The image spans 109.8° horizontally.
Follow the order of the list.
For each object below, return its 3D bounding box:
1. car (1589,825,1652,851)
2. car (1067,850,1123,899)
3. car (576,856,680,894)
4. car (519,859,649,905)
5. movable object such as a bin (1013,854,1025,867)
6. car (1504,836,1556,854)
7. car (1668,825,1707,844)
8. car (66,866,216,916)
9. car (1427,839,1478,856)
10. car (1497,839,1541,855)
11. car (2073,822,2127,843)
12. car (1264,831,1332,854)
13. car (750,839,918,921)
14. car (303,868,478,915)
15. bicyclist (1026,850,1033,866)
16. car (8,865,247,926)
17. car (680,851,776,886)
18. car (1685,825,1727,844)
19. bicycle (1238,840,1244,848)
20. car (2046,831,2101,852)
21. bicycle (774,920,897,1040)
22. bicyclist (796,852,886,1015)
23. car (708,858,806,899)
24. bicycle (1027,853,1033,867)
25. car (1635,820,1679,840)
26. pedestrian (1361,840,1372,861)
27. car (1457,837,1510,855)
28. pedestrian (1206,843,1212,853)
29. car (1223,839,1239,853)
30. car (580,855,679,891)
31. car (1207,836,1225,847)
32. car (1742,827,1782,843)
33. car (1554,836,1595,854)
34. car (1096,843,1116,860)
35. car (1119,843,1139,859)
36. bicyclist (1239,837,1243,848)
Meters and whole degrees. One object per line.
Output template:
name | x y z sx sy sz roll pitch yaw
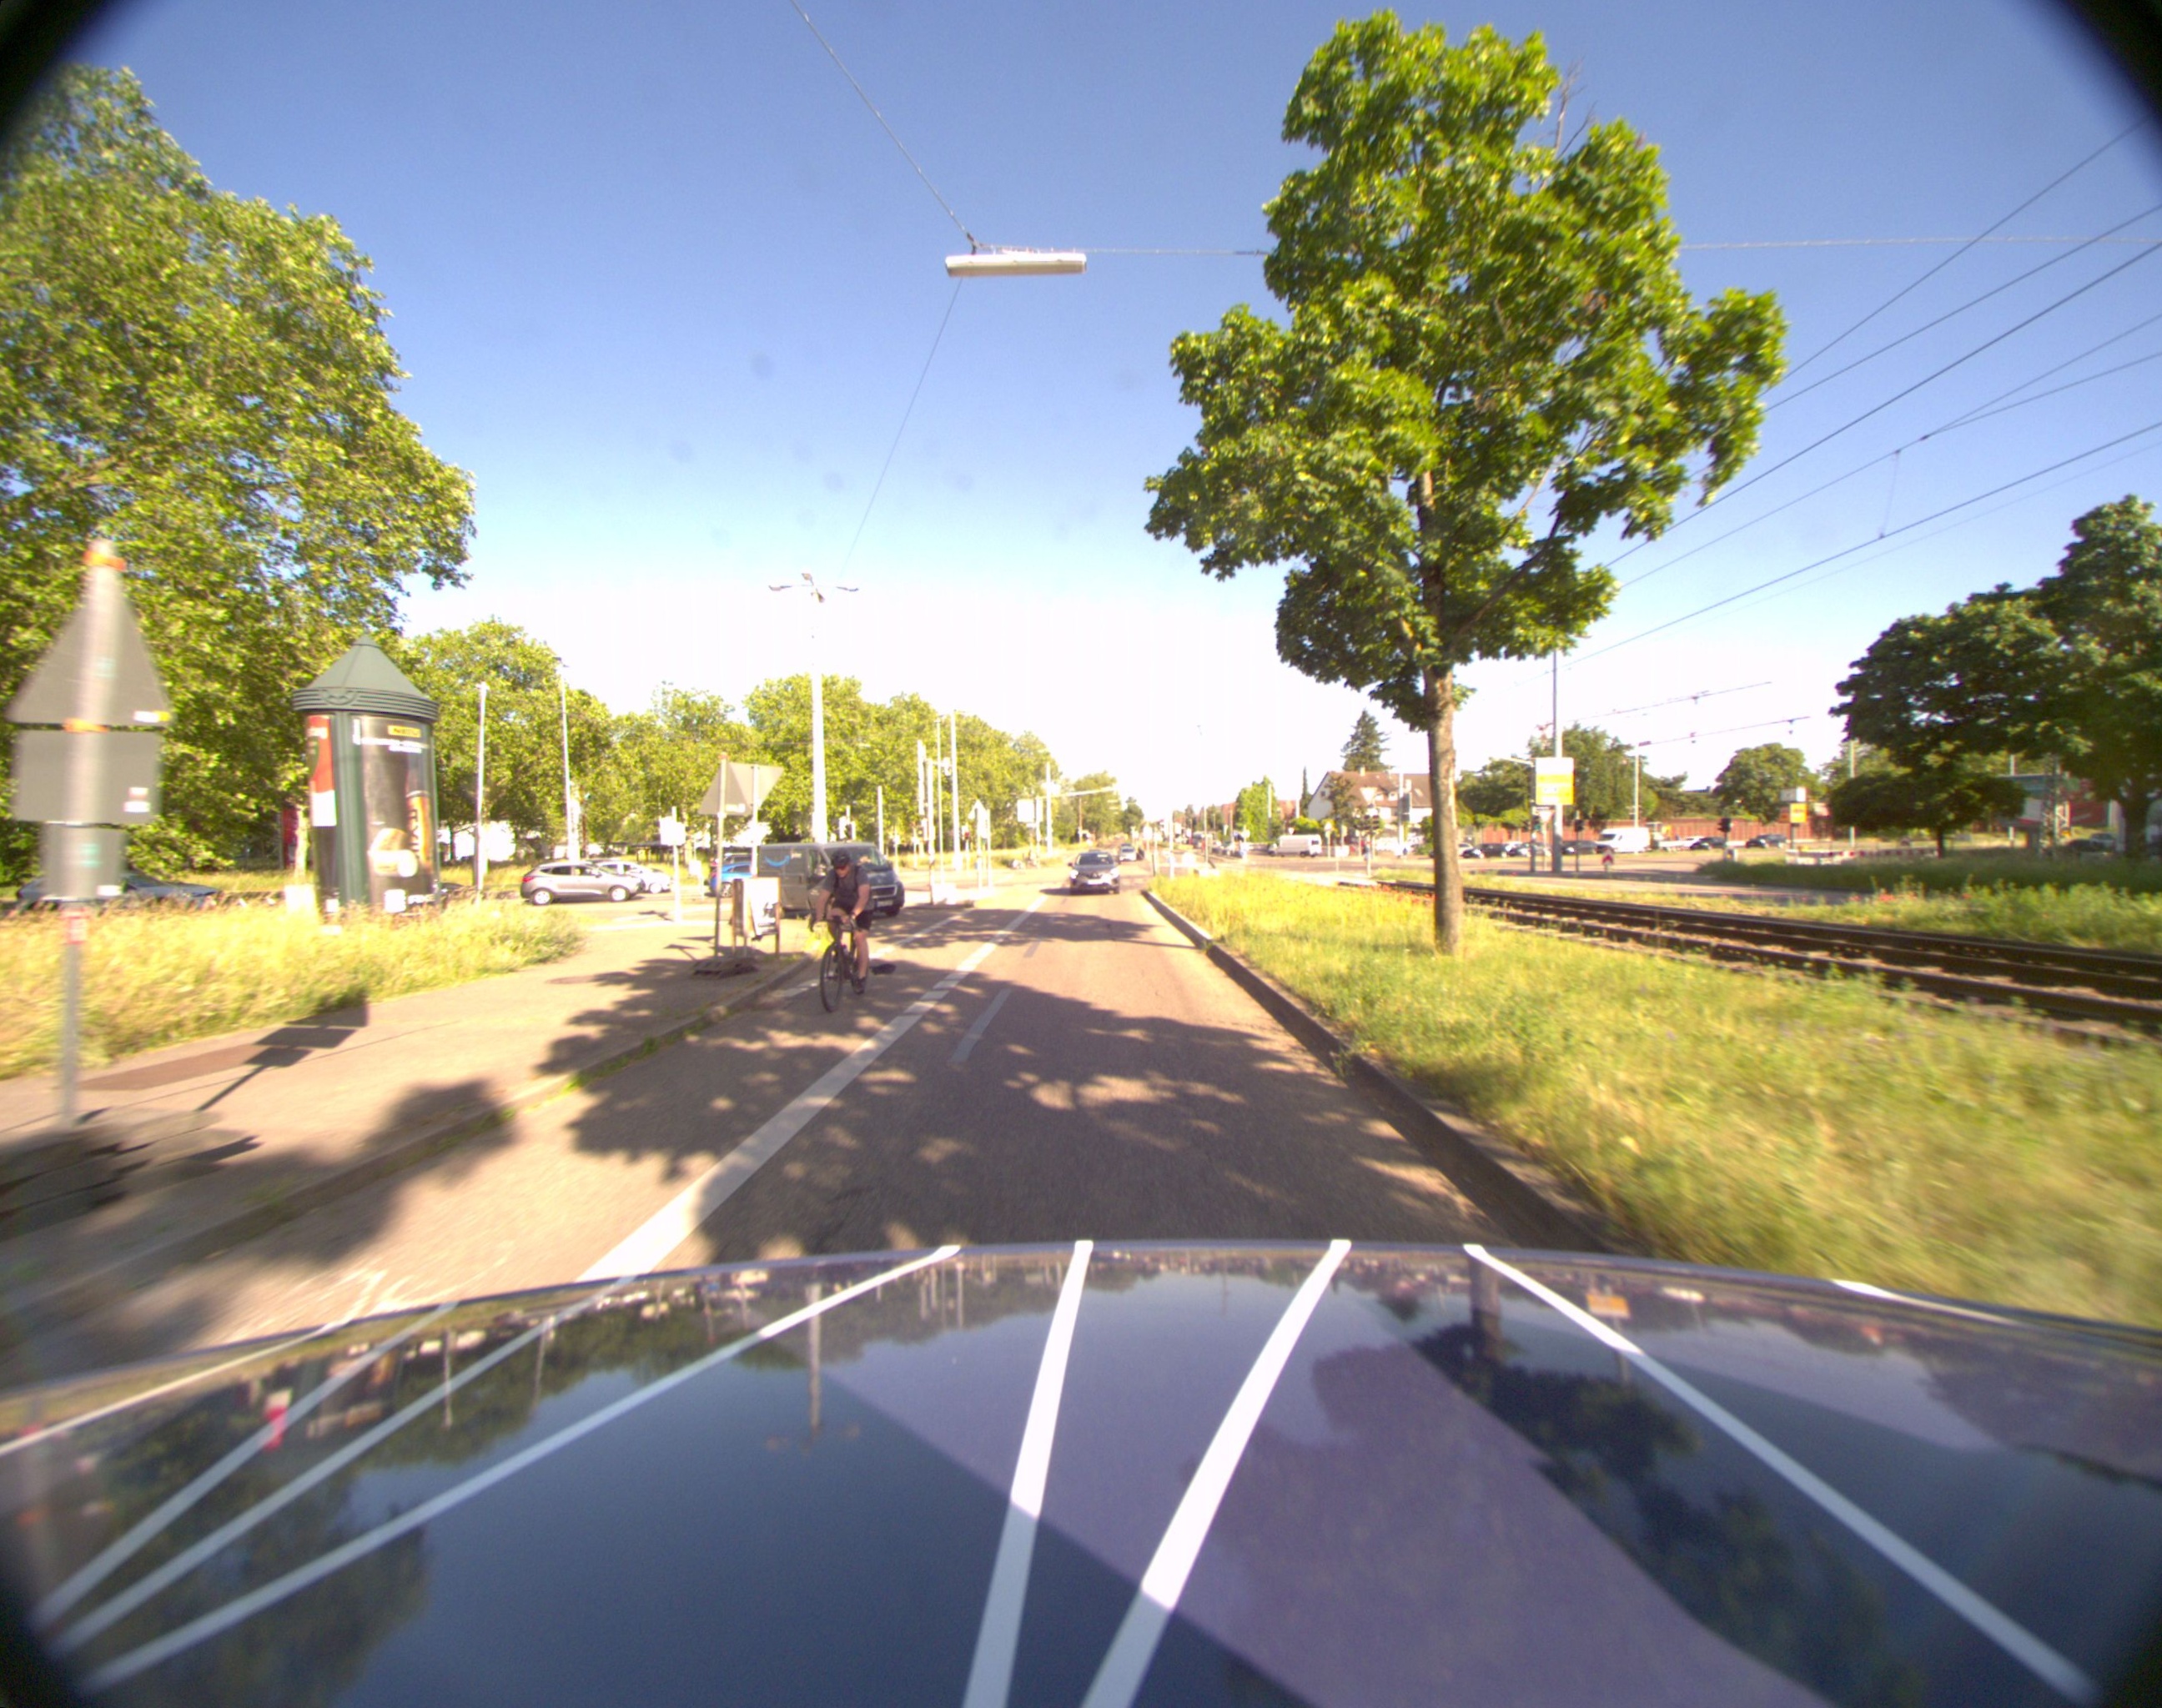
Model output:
car | 52.478 -1.564 73.864 5.928 2.397 2.176 -1 2 -22
car | 0.591 0.694 27.642 1.838 1.542 3.816 -1 2 4
car | -21.004 0.956 35.391 3.863 1.591 1.710 -1 1 -21
car | -20.318 1.087 31.278 4.180 1.669 1.930 -1 1 -25
movable object such as a bin | -4.996 0.517 61.334 0.911 1.062 1.316 -1 2 -4
car | 40.988 -0.811 69.373 4.264 1.458 1.934 -2 1 -24
car | 66.948 -2.174 83.828 4.005 2.002 1.804 -2 2 -26
car | -35.596 1.364 28.877 3.213 1.608 1.369 -2 5 -25
car | 34.386 -0.592 70.258 4.642 1.469 1.669 -1 2 -24
car | 42.526 -0.677 73.695 4.005 1.469 1.669 -1 2 -24
car | 91.205 -1.946 67.990 4.004 1.752 1.996 -2 2 -23
car | 23.861 -1.241 83.658 6.850 2.444 2.353 0 2 43
car | -7.174 0.660 21.788 5.104 2.059 2.135 0 2 40
car | -26.442 1.389 29.342 4.576 1.400 1.929 -1 5 -25
bicyclist | -4.175 0.331 62.000 0.511 1.333 0.565 -1 2 -3
car | -33.198 1.386 26.685 4.781 1.673 1.905 -3 3 -24
car | -18.650 0.724 40.280 4.500 1.702 1.917 -1 2 -24
car | 65.580 -2.041 79.738 4.005 2.002 1.804 -2 2 -26
bicycle | 22.722 -1.411 107.756 0.508 1.036 1.948 -1 1 3
car | 86.712 -1.081 66.375 4.004 1.752 1.996 -2 1 -23
bicycle | -2.604 1.294 8.314 0.525 0.918 2.089 -1 2 4
bicyclist | -2.610 0.825 8.348 0.616 1.670 0.933 -1 2 2
car | -14.414 1.042 33.816 3.865 1.591 1.709 -3 1 -27
bicycle | -4.191 0.482 62.584 0.468 1.112 1.819 -1 1 -4
car | 57.939 -2.424 76.434 4.005 2.002 1.804 -2 2 -25
pedestrian | 25.633 -0.315 68.190 0.612 1.937 0.774 -2 2 -40
car | 35.736 -0.722 67.467 4.254 1.458 1.934 -2 2 -24
pedestrian | 17.526 -0.854 103.995 0.623 1.406 0.711 -1 1 1
car | 19.748 -1.090 100.129 1.795 1.678 4.002 -1 1 6
car | -22.496 0.916 38.026 4.005 1.608 1.996 -1 1 -24
car | 21.131 -1.993 119.104 1.818 1.587 4.691 -1 1 -1
car | 73.846 -2.047 82.382 4.005 1.732 1.804 -1 1 -26
car | 46.246 -0.856 71.217 3.531 1.559 1.494 -2 1 -22
car | 2.463 -0.246 75.002 1.839 1.542 3.815 -1 2 1
car | 4.980 -0.318 79.320 1.881 1.519 4.420 -1 2 2
bicyclist | 22.726 -1.607 107.798 0.490 1.599 0.648 -1 2 3
